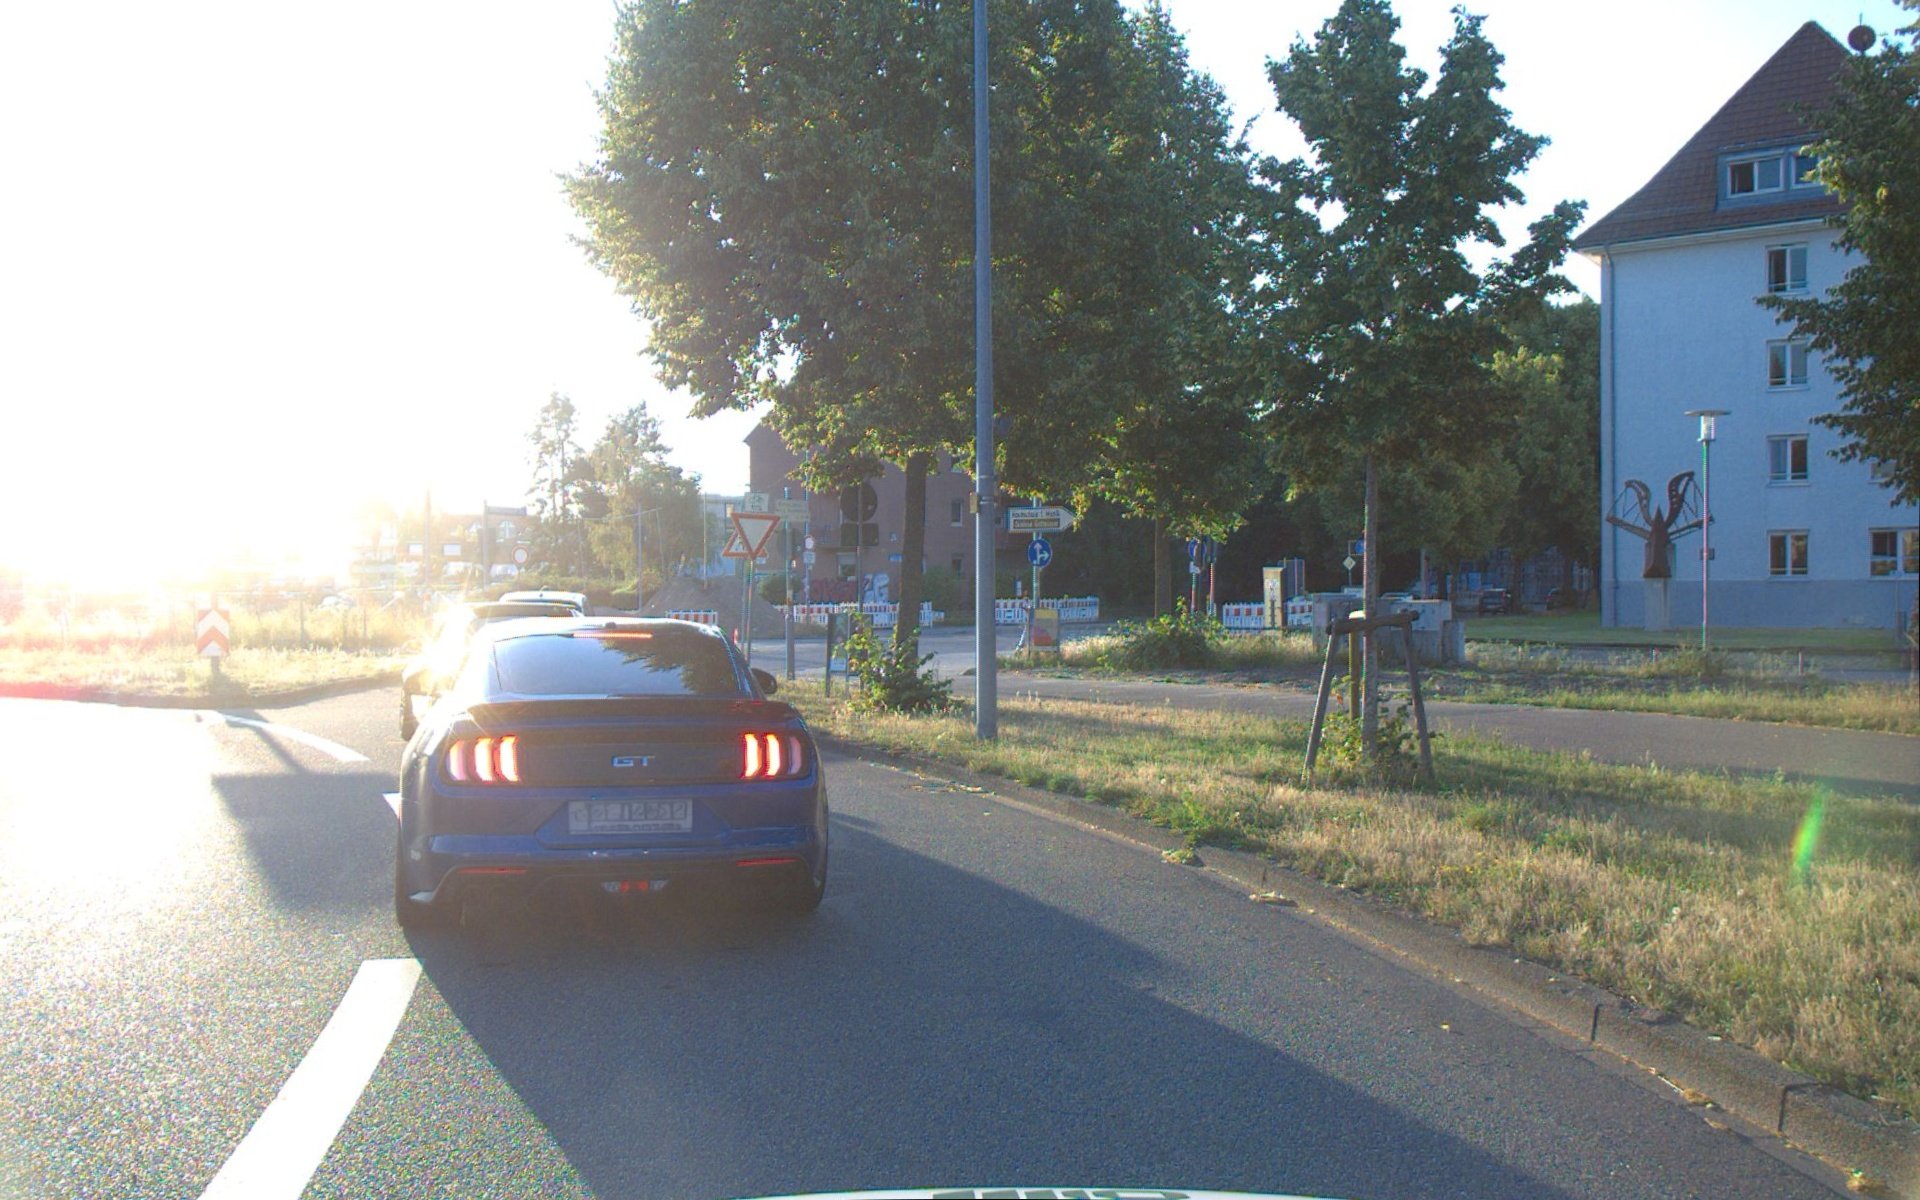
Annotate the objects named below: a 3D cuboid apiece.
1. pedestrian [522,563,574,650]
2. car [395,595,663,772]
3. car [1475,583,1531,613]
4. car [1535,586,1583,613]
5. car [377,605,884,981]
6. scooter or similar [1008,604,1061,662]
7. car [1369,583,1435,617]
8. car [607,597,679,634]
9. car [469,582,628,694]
[{"bbox_3d":[-8.240,0.118,33.084,0.833,1.716,0.879,0,0,-27],"label":"pedestrian"},{"bbox_3d":[-4.418,0.731,16.466,1.925,1.452,4.398,2,0,-23],"label":"car"},{"bbox_3d":[30.304,-0.139,92.269,1.918,1.630,4.063,1,0,35],"label":"car"},{"bbox_3d":[37.721,-0.027,104.109,1.918,1.630,4.063,1,0,35],"label":"car"},{"bbox_3d":[-1.863,0.723,8.611,1.920,1.365,4.650,0,0,-16],"label":"car"},{"bbox_3d":[1.638,0.713,36.426,1.102,1.260,0.440,0,0,-17],"label":"scooter or similar"},{"bbox_3d":[21.396,-0.006,79.981,1.916,1.630,4.066,1,0,33],"label":"car"},{"bbox_3d":[-15.651,0.743,81.540,1.980,1.736,3.946,0,0,-38],"label":"car"},{"bbox_3d":[-6.462,0.550,26.368,1.914,1.630,4.072,0,0,-6],"label":"car"}]
